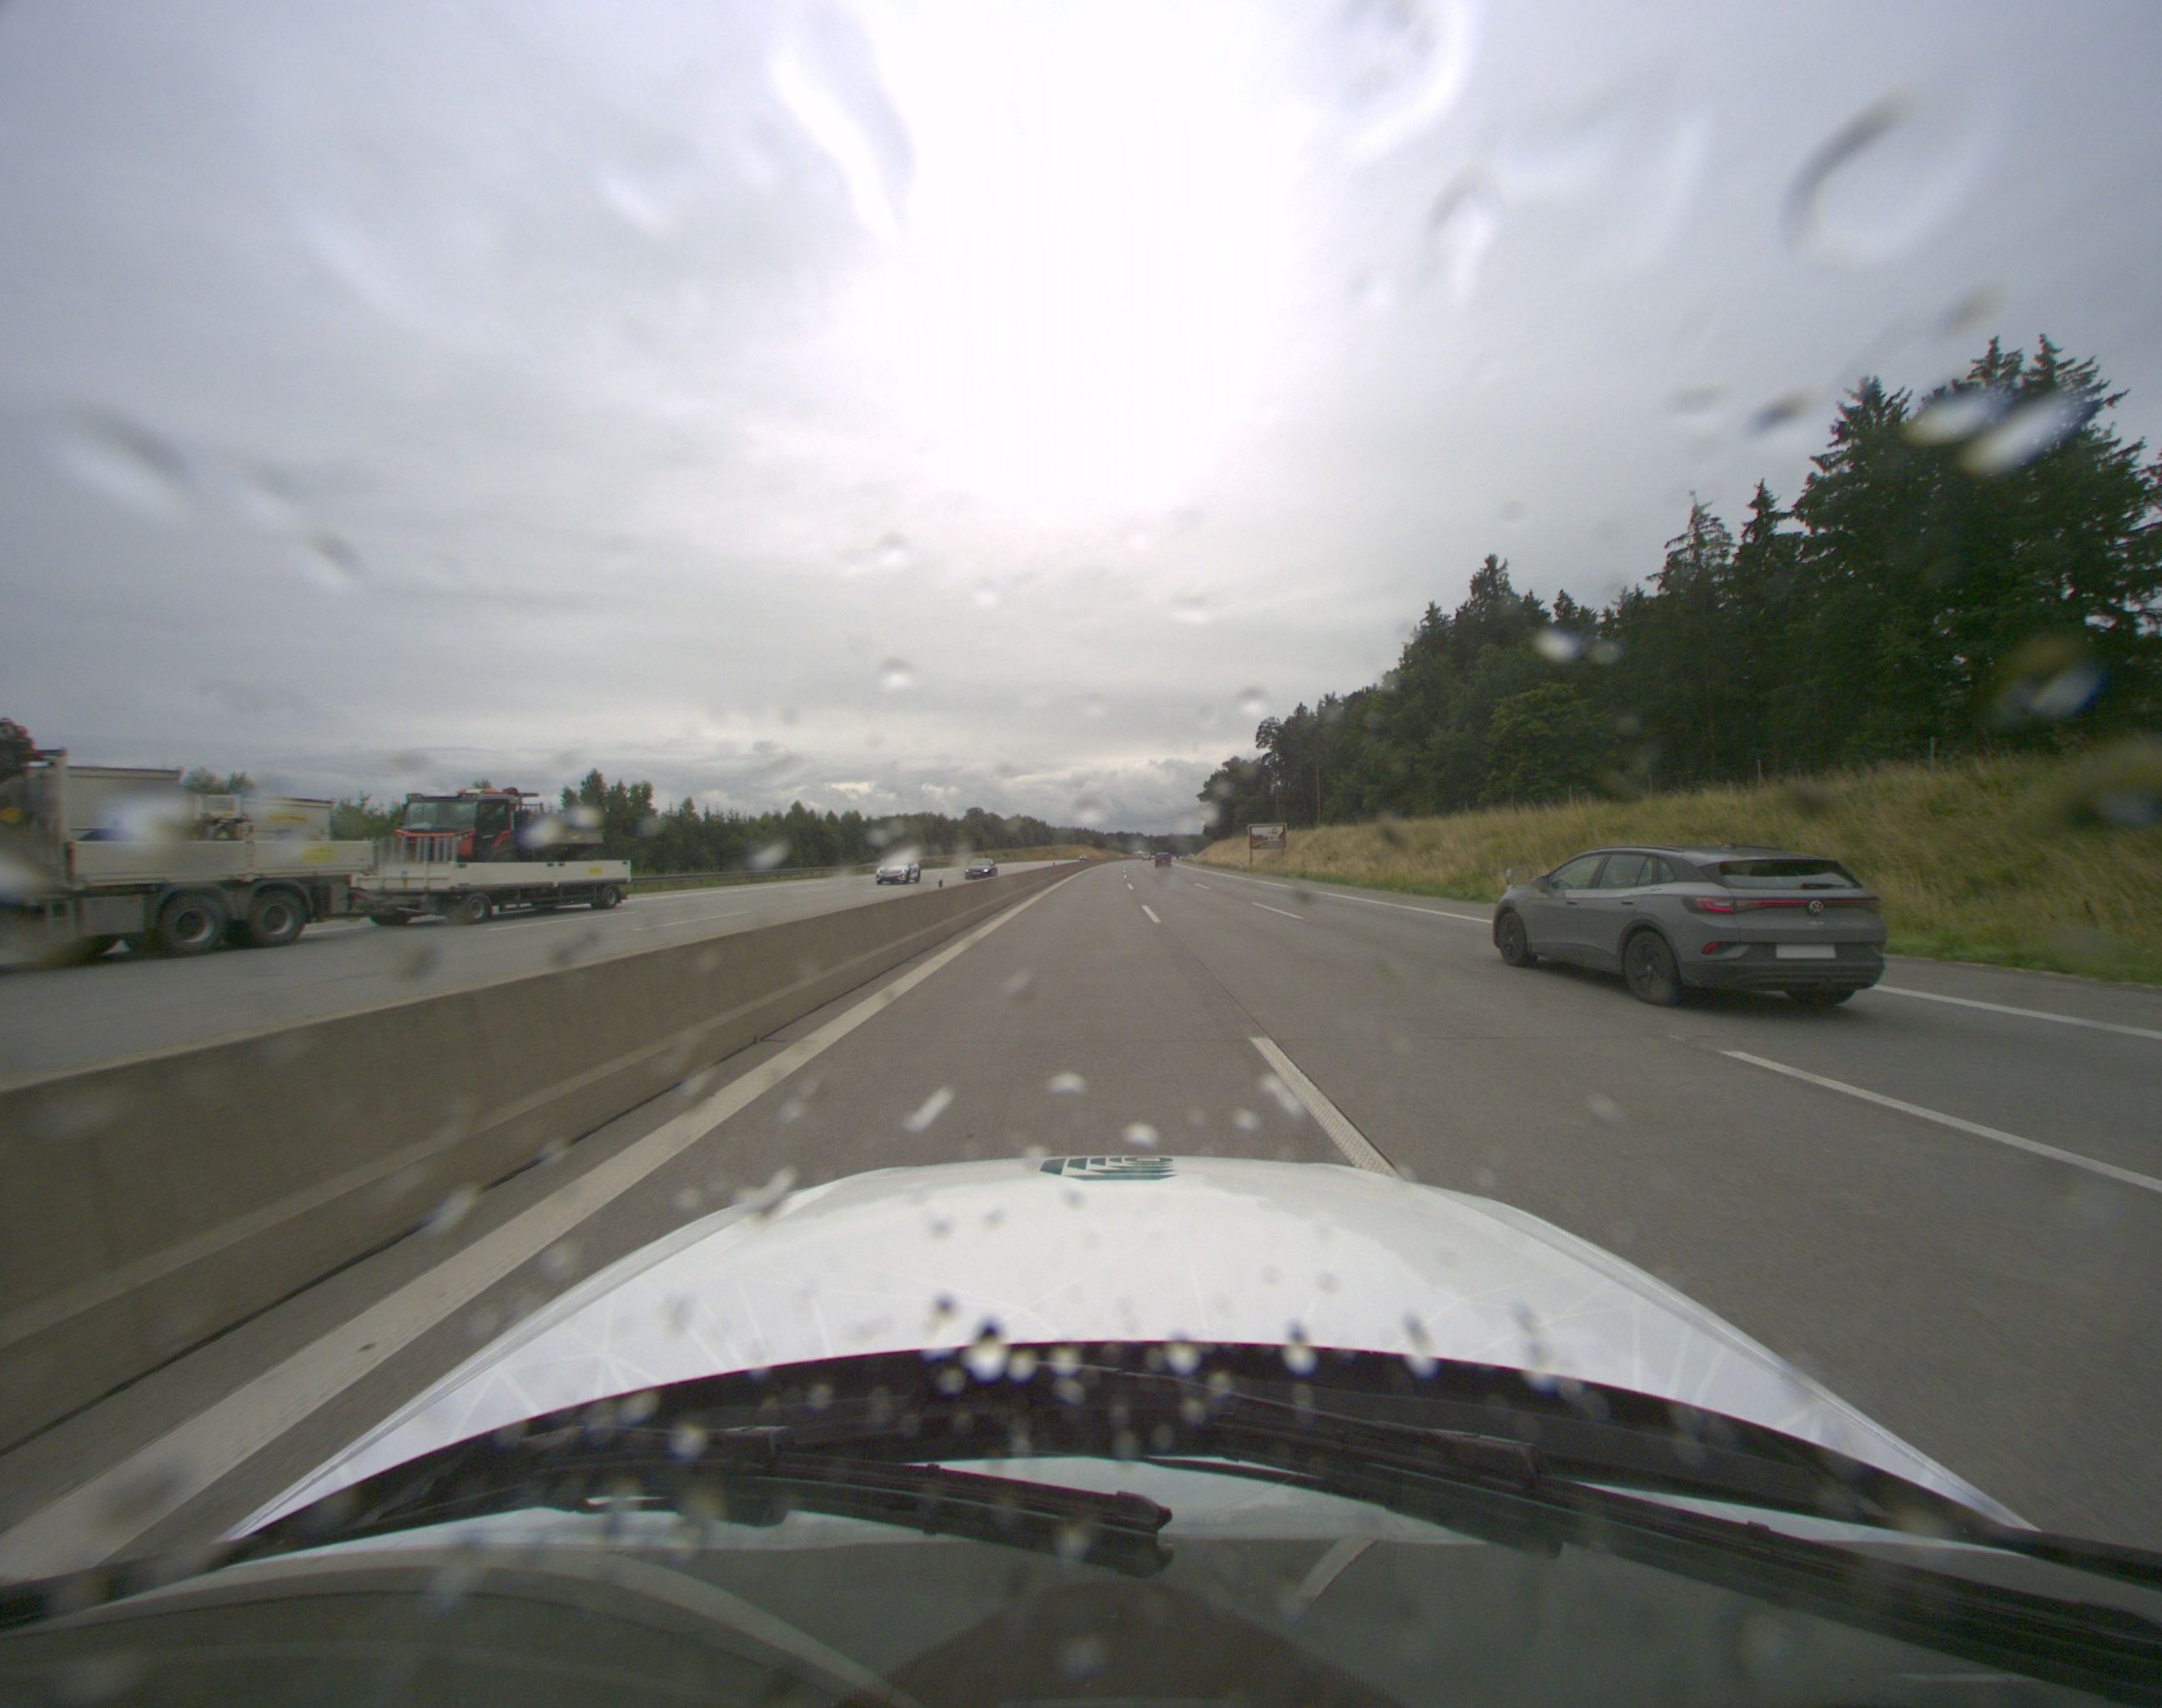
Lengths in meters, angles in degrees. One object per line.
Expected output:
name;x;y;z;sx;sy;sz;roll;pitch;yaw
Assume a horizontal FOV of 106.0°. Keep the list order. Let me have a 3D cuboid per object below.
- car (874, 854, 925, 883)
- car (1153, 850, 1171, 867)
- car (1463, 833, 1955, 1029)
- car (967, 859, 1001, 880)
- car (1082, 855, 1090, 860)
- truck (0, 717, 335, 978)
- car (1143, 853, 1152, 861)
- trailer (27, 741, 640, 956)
car;-10.630;0.820;48.029;1.755;1.586;4.761;0;1;3
car;9.362;0.515;94.182;1.778;1.746;3.917;-4;1;2
car;6.661;0.624;9.675;1.891;1.689;5.268;0;1;1
car;-6.623;1.096;56.059;1.757;1.267;4.492;-2;-2;0
car;1.236;0.881;201.474;1.760;1.232;3.958;0;1;3
truck;-16.389;-0.069;12.553;2.577;3.652;7.661;-1;0;1
car;15.560;0.674;190.894;1.834;1.500;4.002;-4;1;2
trailer;-16.247;-0.061;20.512;2.577;3.543;13.724;-1;0;1
